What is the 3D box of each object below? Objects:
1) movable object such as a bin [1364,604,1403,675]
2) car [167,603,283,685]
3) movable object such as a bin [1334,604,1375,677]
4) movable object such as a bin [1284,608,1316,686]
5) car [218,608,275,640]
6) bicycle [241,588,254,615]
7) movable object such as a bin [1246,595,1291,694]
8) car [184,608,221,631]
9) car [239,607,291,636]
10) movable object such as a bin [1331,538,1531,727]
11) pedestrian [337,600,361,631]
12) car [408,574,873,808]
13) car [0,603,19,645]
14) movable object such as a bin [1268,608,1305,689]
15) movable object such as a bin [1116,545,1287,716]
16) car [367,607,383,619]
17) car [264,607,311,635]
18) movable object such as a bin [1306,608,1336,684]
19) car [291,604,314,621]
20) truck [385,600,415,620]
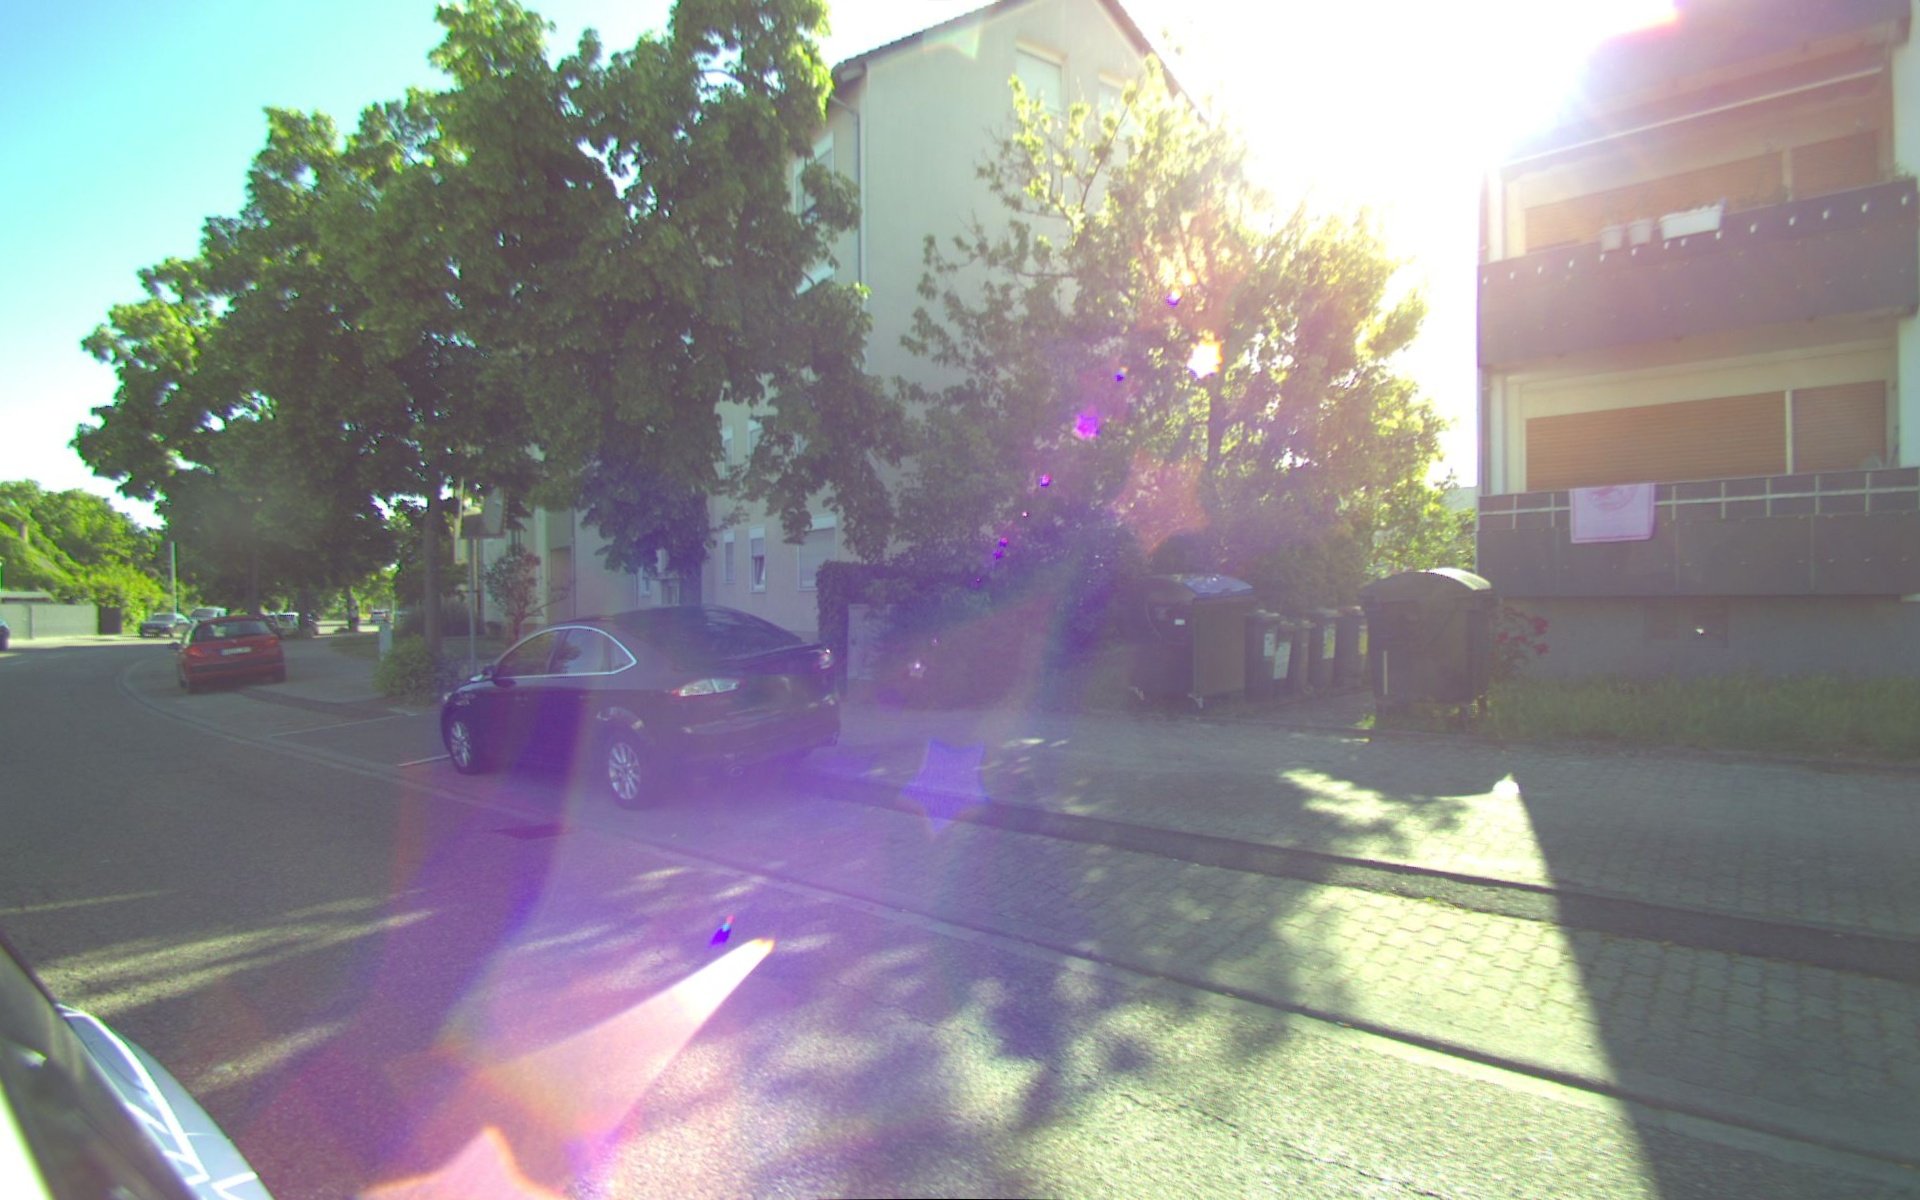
[{"bbox_3d":[5.739,0.527,13.706,0.372,0.927,0.410,-1,0,41],"label":"movable object such as a bin"},{"bbox_3d":[-15.847,0.881,21.750,1.637,1.505,3.914,-5,2,-40],"label":"car"},{"bbox_3d":[5.141,0.524,13.184,0.390,0.927,0.337,-1,0,41],"label":"movable object such as a bin"},{"bbox_3d":[4.115,0.564,12.240,0.256,0.927,0.319,-1,0,41],"label":"movable object such as a bin"},{"bbox_3d":[-35.333,1.183,50.196,1.624,1.551,3.716,0,-1,-24],"label":"car"},{"bbox_3d":[-28.647,0.067,40.682,0.352,1.015,1.203,-1,-1,-32],"label":"bicycle"},{"bbox_3d":[3.486,0.491,11.437,0.350,1.082,0.369,-1,0,41],"label":"movable object such as a bin"},{"bbox_3d":[-55.928,1.443,74.770,1.613,1.590,3.715,0,-1,-28],"label":"car"},{"bbox_3d":[-37.646,1.168,54.898,1.624,1.551,3.716,0,-1,-24],"label":"car"},{"bbox_3d":[4.302,0.271,9.241,1.327,1.555,1.276,-1,-1,42],"label":"movable object such as a bin"},{"bbox_3d":[-32.999,0.842,54.663,0.946,1.641,0.734,0,-1,-11],"label":"pedestrian"},{"bbox_3d":[-3.049,0.648,9.126,4.539,1.504,1.706,-1,5,39],"label":"car"},{"bbox_3d":[-40.792,0.950,41.857,1.748,1.750,3.715,3,-3,-28],"label":"car"},{"bbox_3d":[3.839,0.556,11.880,0.269,0.927,0.389,-1,0,41],"label":"movable object such as a bin"},{"bbox_3d":[2.604,0.302,10.880,1.267,1.675,1.398,-1,-1,42],"label":"movable object such as a bin"},{"bbox_3d":[-69.836,1.550,120.868,1.521,1.476,3.715,0,-1,-28],"label":"car"},{"bbox_3d":[-38.825,1.211,58.474,1.624,1.551,3.716,0,-1,-24],"label":"car"},{"bbox_3d":[4.528,0.567,12.691,0.233,0.927,0.370,-1,0,41],"label":"movable object such as a bin"},{"bbox_3d":[-64.836,1.229,99.850,1.613,1.590,3.715,0,-1,-28],"label":"car"},{"bbox_3d":[-65.797,1.195,119.013,2.373,2.384,4.540,0,-1,-20],"label":"truck"}]
